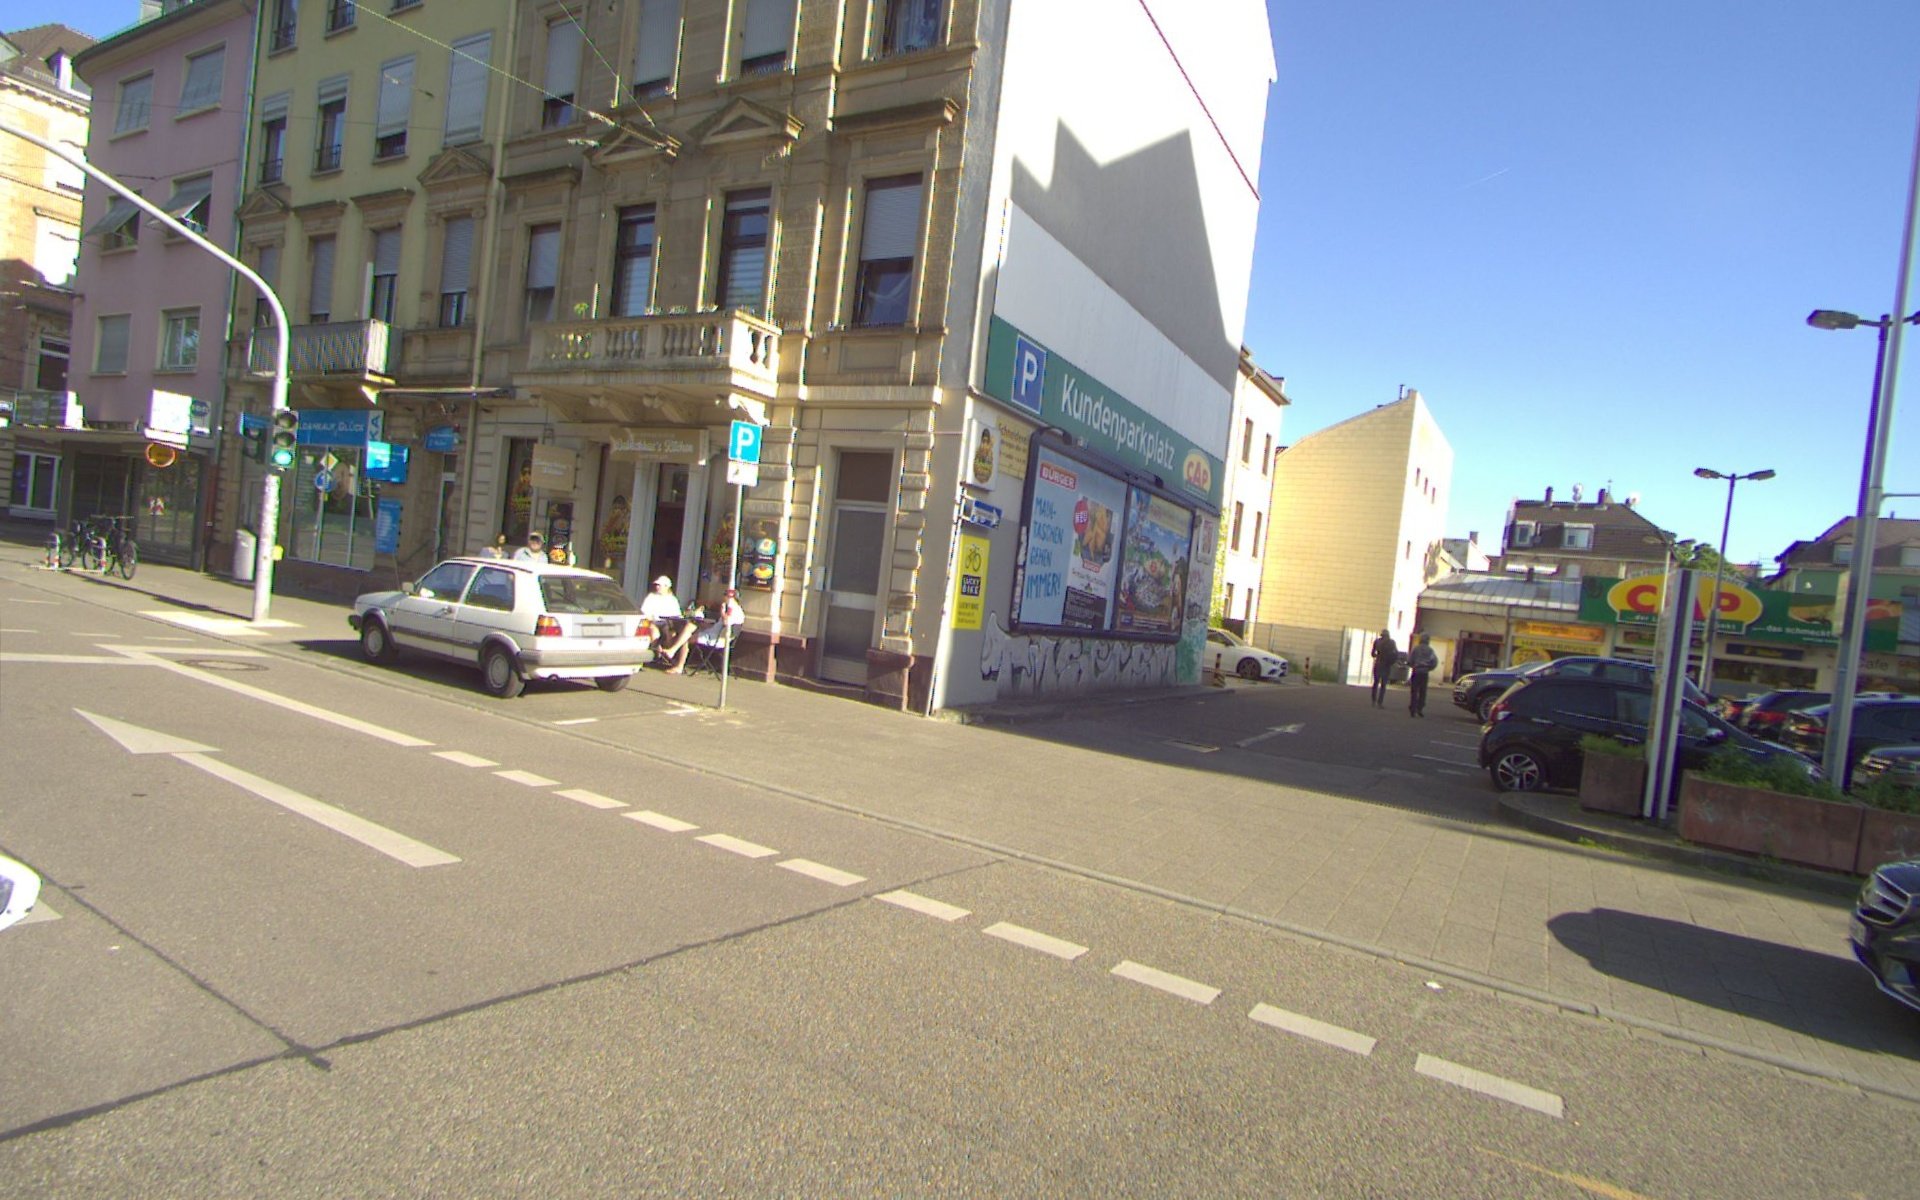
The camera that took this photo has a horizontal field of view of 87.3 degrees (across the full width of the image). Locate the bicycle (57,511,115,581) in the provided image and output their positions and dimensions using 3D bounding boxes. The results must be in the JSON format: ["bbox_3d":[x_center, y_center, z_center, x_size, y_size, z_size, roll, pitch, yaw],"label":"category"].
[{"bbox_3d":[-16.350,-1.024,18.808,1.782,1.155,0.414,7,0,38],"label":"bicycle"}]

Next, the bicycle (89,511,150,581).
[{"bbox_3d":[-16.080,-1.048,19.232,1.731,1.173,0.448,7,1,38],"label":"bicycle"}]

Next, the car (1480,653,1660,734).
[{"bbox_3d":[16.517,2.499,27.427,3.933,1.538,1.723,7,1,31],"label":"car"}]

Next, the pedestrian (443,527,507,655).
[{"bbox_3d":[-6.835,-0.120,14.185,0.382,1.730,0.550,8,2,34],"label":"pedestrian"}]

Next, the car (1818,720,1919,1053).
[{"bbox_3d":[7.163,1.748,4.528,4.656,1.507,1.832,7,3,32],"label":"car"}]

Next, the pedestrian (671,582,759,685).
[{"bbox_3d":[-3.345,0.450,13.762,0.644,1.299,0.901,7,4,27],"label":"pedestrian"}]

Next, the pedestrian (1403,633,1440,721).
[{"bbox_3d":[9.790,1.629,21.347,0.504,1.778,0.761,7,1,26],"label":"pedestrian"}]

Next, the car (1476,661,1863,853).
[{"bbox_3d":[7.963,1.689,11.695,3.336,1.504,1.561,7,0,28],"label":"car"}]

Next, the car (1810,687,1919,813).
[{"bbox_3d":[14.381,2.260,13.727,3.871,1.564,1.543,7,1,30],"label":"car"}]

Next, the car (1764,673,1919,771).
[{"bbox_3d":[18.922,2.548,20.282,3.872,1.601,1.658,7,1,31],"label":"car"}]

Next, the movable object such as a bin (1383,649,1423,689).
[{"bbox_3d":[18.922,2.957,42.948,1.258,1.527,1.174,7,1,31],"label":"movable object such as a bin"}]

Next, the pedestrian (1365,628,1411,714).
[{"bbox_3d":[9.797,1.616,23.014,0.749,1.864,0.747,7,1,25],"label":"pedestrian"}]

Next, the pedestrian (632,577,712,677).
[{"bbox_3d":[-3.991,0.366,13.952,0.598,1.299,0.797,7,4,29],"label":"pedestrian"}]

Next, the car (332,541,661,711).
[{"bbox_3d":[-5.529,0.213,11.845,3.937,1.435,1.562,7,4,32],"label":"car"}]

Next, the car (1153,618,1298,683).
[{"bbox_3d":[8.318,1.573,31.573,3.933,1.482,1.756,7,1,32],"label":"car"}]

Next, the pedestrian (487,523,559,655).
[{"bbox_3d":[-6.356,-0.154,14.643,0.522,1.831,0.673,7,4,31],"label":"pedestrian"}]

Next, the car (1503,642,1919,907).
[{"bbox_3d":[7.273,1.512,9.213,3.835,1.667,1.651,9,3,28],"label":"car"}]

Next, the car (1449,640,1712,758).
[{"bbox_3d":[12.655,1.964,20.789,4.309,1.687,1.756,7,1,32],"label":"car"}]

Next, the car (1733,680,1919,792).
[{"bbox_3d":[16.571,2.509,18.121,3.872,1.564,1.543,7,1,31],"label":"car"}]
